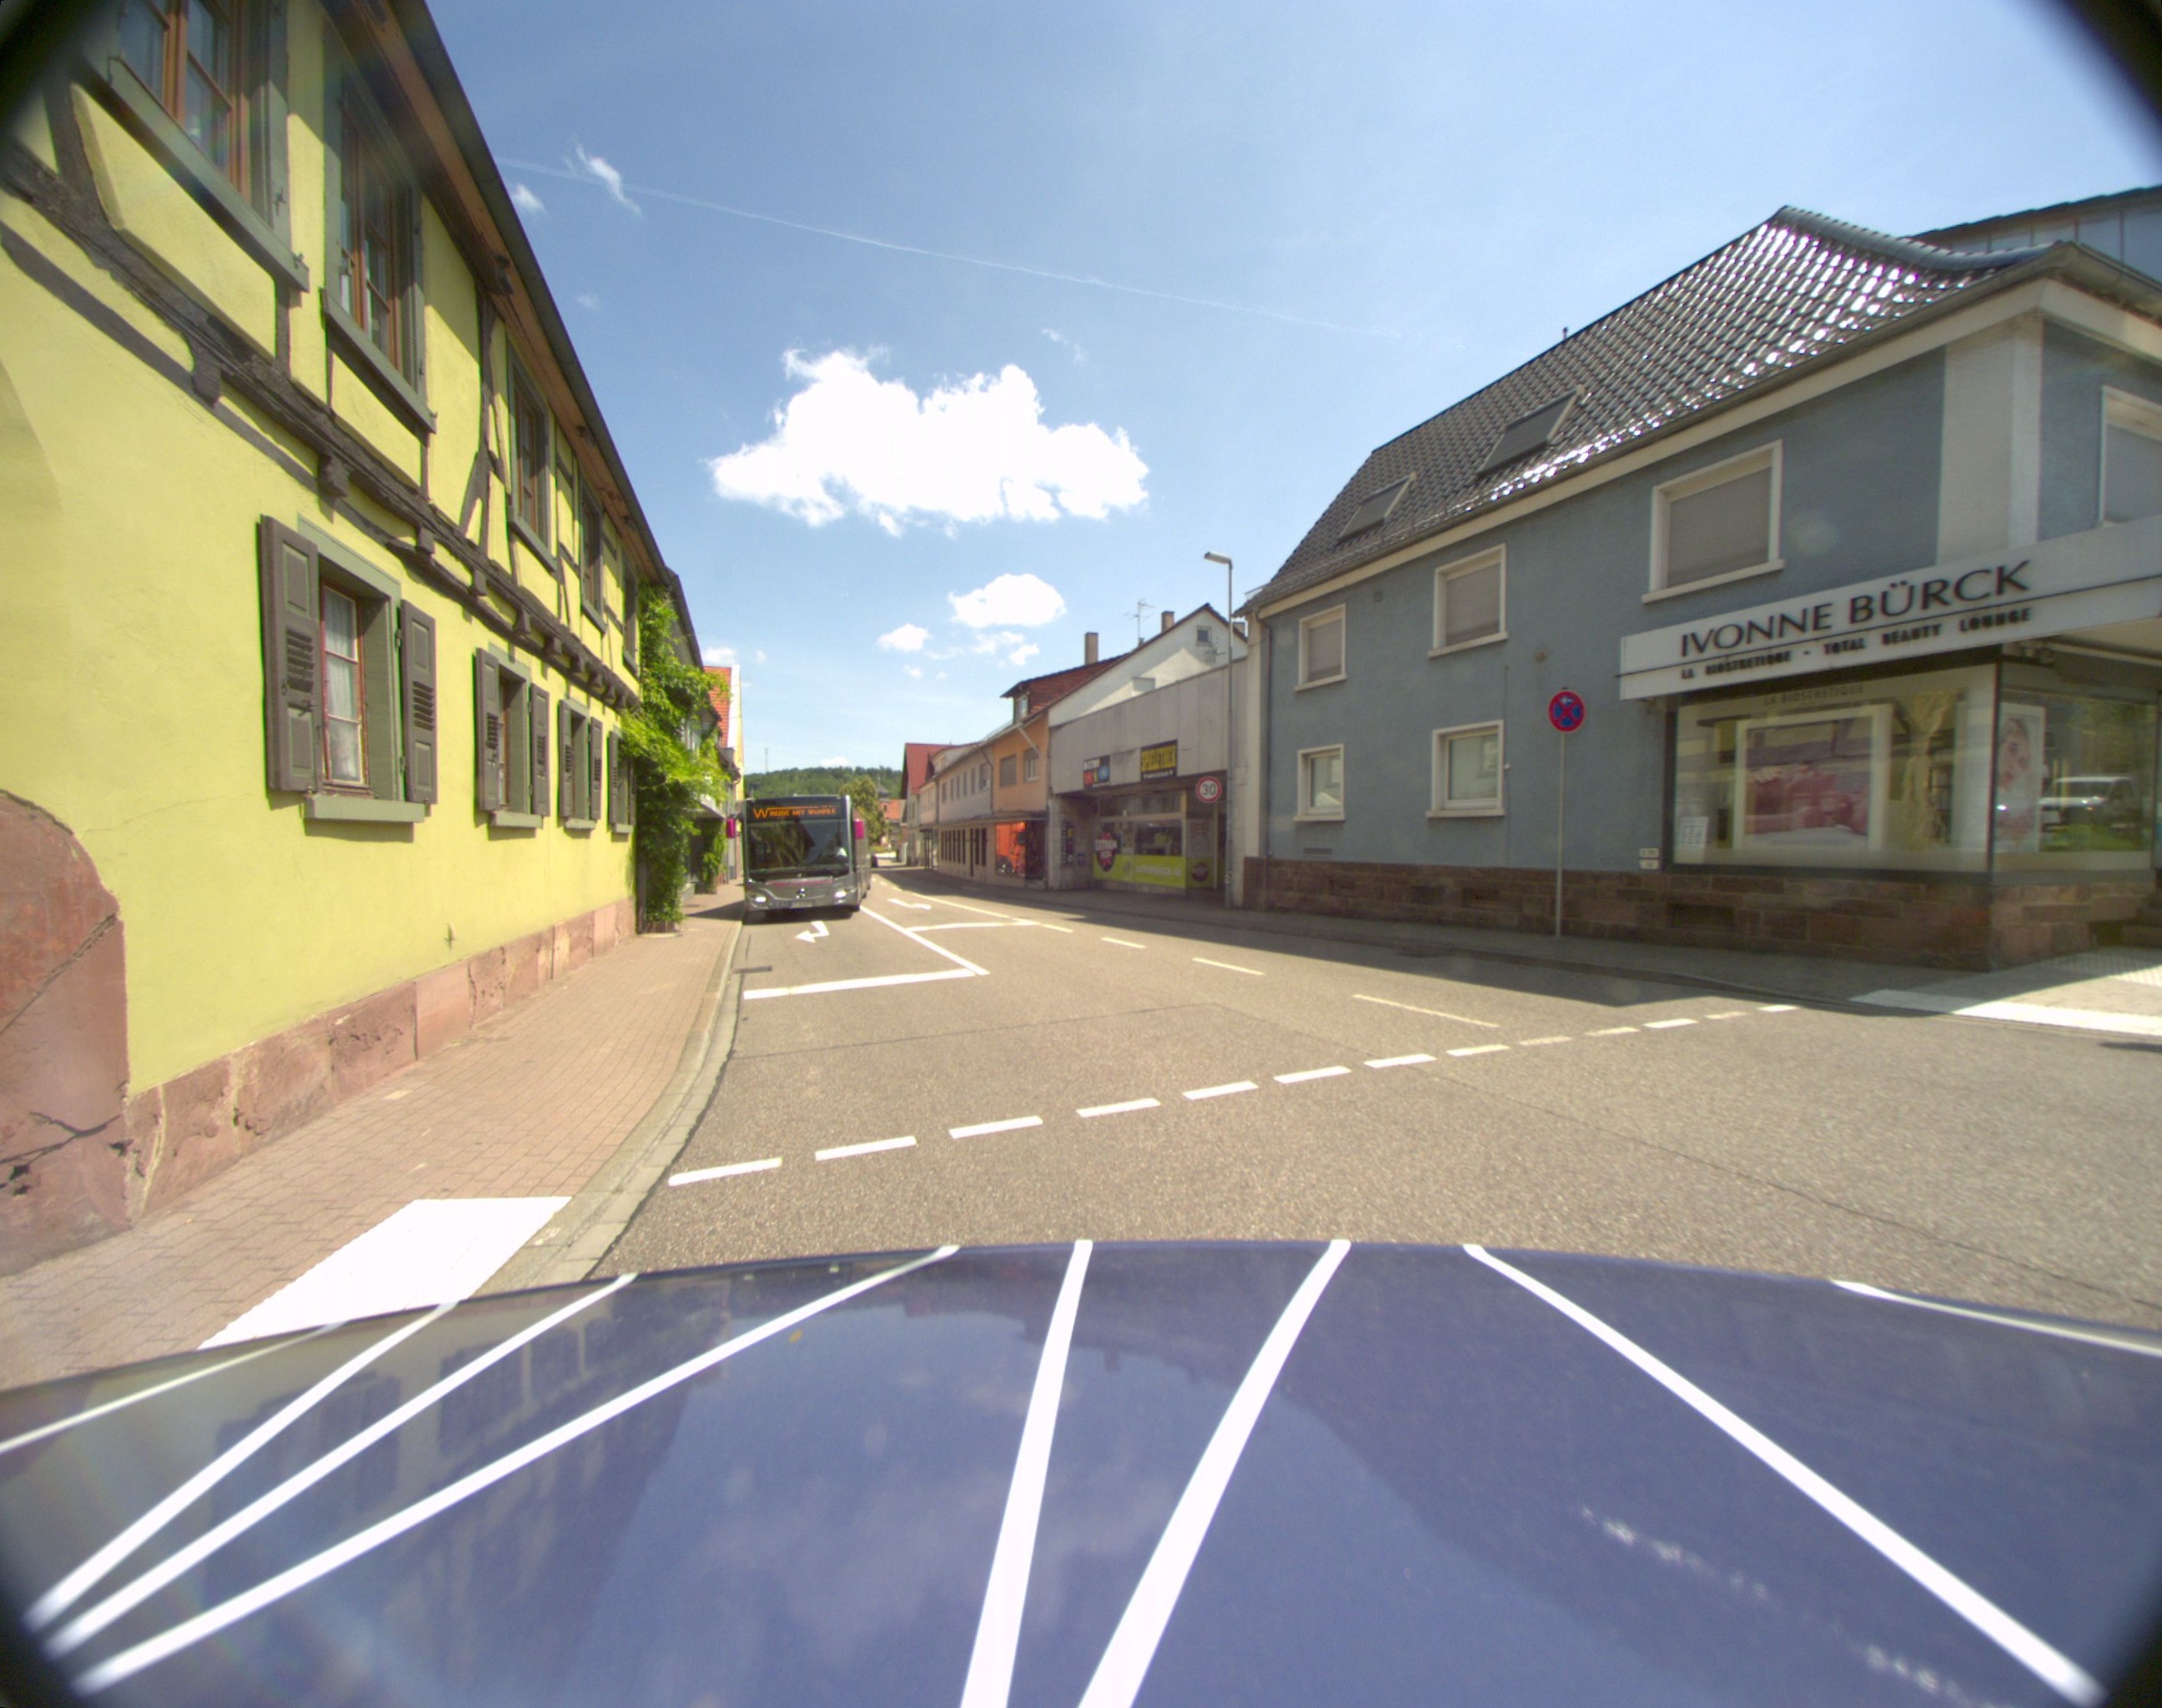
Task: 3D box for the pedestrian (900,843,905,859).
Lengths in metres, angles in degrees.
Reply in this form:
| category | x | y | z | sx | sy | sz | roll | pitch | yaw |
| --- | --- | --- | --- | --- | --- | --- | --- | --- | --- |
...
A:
| category | x | y | z | sx | sy | sz | roll | pitch | yaw |
| --- | --- | --- | --- | --- | --- | --- | --- | --- | --- |
| pedestrian | -20.370 | -0.349 | 86.667 | 0.472 | 1.754 | 0.477 | -1 | 3 | -41 |

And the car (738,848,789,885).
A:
| category | x | y | z | sx | sy | sz | roll | pitch | yaw |
| --- | --- | --- | --- | --- | --- | --- | --- | --- | --- |
| car | -15.946 | 0.603 | 38.363 | 2.002 | 1.699 | 4.093 | 2 | 0 | -18 |

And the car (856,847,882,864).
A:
| category | x | y | z | sx | sy | sz | roll | pitch | yaw |
| --- | --- | --- | --- | --- | --- | --- | --- | --- | --- |
| car | -19.805 | 0.148 | 70.878 | 1.805 | 1.478 | 4.787 | 2 | 0 | -21 |

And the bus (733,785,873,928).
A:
| category | x | y | z | sx | sy | sz | roll | pitch | yaw |
| --- | --- | --- | --- | --- | --- | --- | --- | --- | --- |
| bus | -8.789 | 0.039 | 26.440 | 2.862 | 3.186 | 19.006 | -1 | 0 | -15 |
